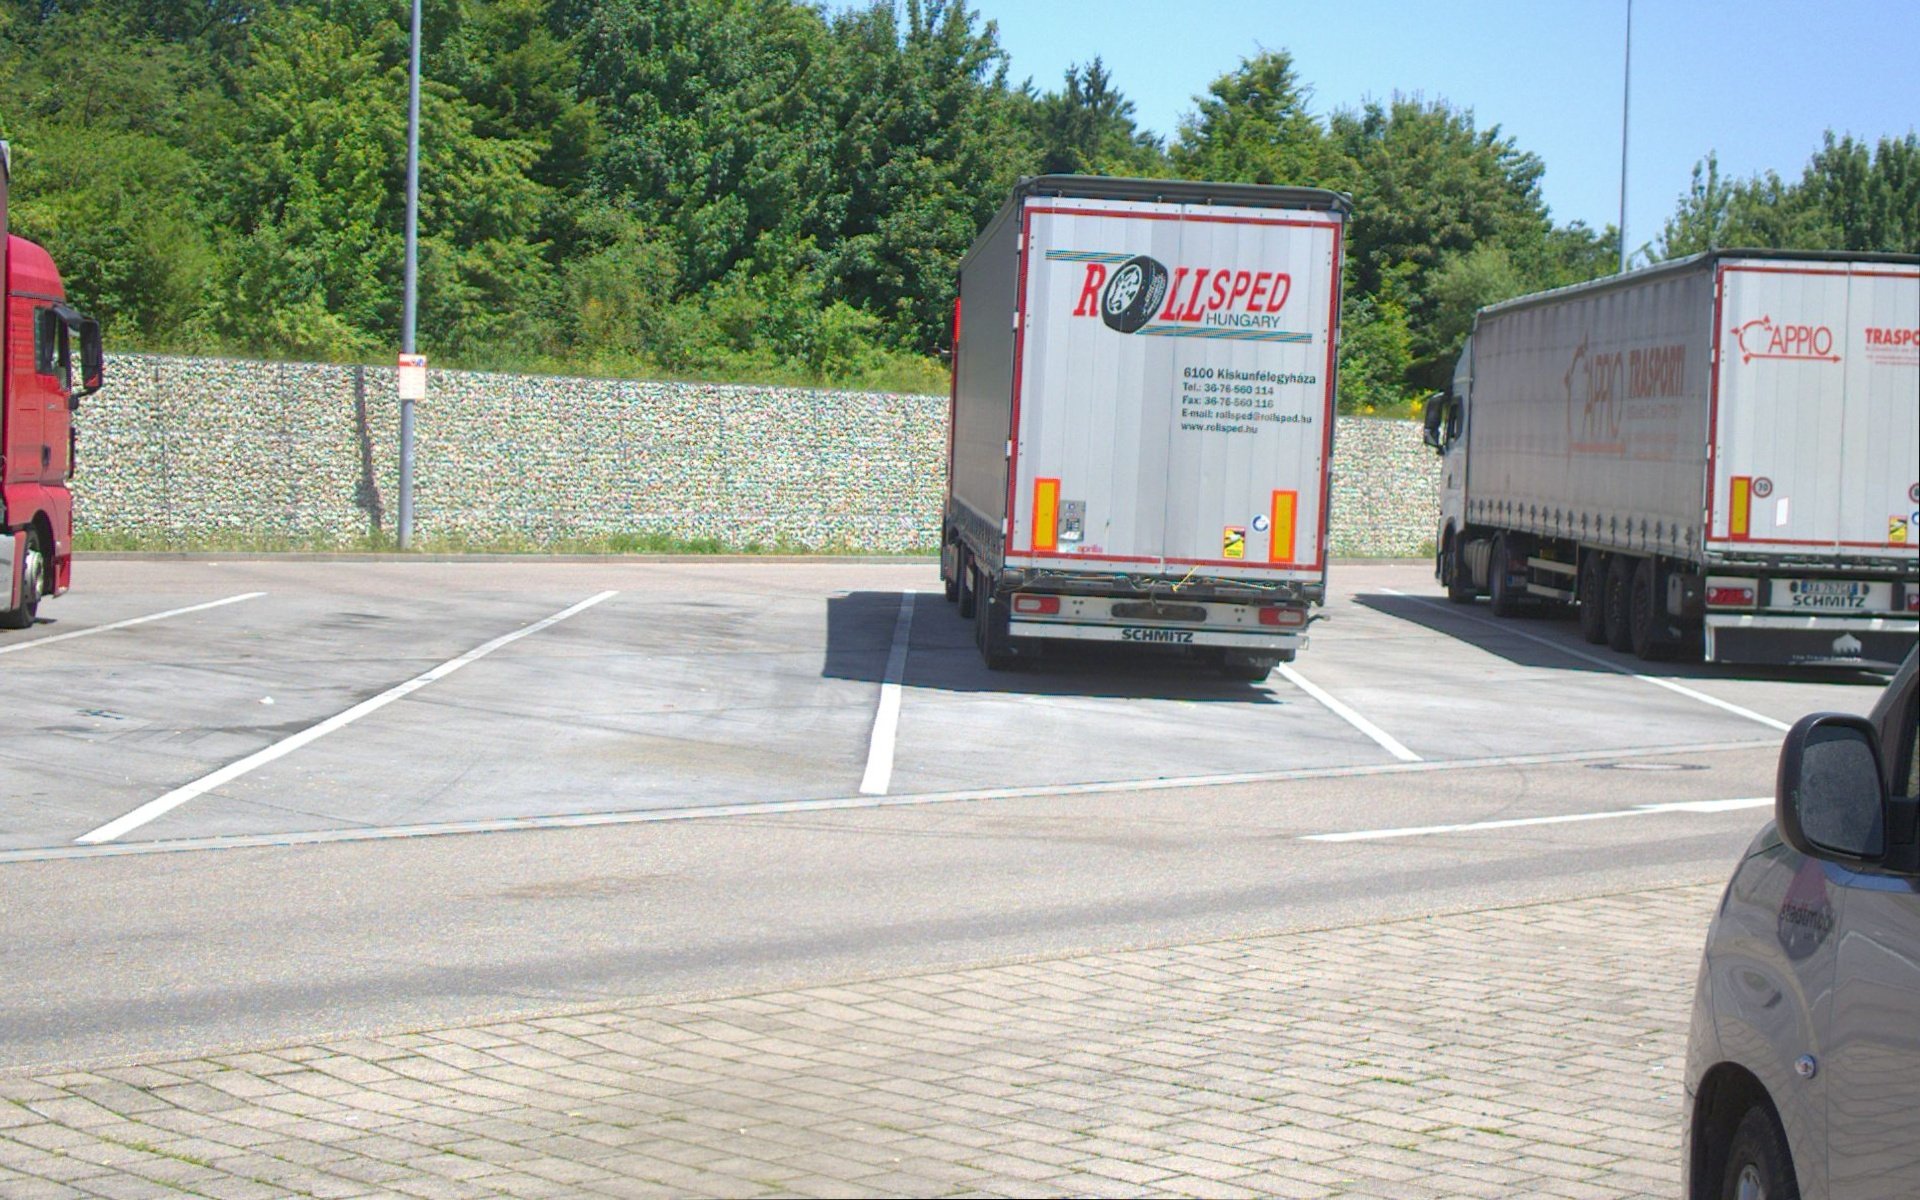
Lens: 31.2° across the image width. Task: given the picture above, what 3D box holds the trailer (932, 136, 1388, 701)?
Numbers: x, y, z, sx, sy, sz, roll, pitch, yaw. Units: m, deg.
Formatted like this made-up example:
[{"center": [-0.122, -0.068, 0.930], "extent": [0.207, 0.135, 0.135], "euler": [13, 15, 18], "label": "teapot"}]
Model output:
[{"center": [1.475, -1.699, 32.649], "extent": [3.069, 4.213, 12.810], "euler": [2, 3, -2], "label": "trailer"}]

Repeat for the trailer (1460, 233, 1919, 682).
[{"center": [8.137, -1.539, 38.486], "extent": [2.876, 4.110, 13.572], "euler": [1, 2, -1], "label": "trailer"}]

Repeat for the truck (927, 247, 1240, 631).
[{"center": [1.260, -1.858, 39.417], "extent": [3.026, 3.915, 6.847], "euler": [2, 3, -2], "label": "truck"}]

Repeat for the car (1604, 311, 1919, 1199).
[{"center": [2.134, 0.542, 3.806], "extent": [1.825, 1.747, 4.001], "euler": [1, 2, -4], "label": "car"}]

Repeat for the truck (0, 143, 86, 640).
[{"center": [-9.234, -1.704, 27.666], "extent": [2.743, 4.067, 6.830], "euler": [1, 2, -1], "label": "truck"}]

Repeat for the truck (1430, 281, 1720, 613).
[{"center": [8.023, -1.992, 45.481], "extent": [2.757, 4.110, 5.285], "euler": [1, 2, -1], "label": "truck"}]

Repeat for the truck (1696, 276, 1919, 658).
[{"center": [11.726, -1.476, 39.818], "extent": [2.904, 4.110, 14.528], "euler": [3, 2, -1], "label": "truck"}]
